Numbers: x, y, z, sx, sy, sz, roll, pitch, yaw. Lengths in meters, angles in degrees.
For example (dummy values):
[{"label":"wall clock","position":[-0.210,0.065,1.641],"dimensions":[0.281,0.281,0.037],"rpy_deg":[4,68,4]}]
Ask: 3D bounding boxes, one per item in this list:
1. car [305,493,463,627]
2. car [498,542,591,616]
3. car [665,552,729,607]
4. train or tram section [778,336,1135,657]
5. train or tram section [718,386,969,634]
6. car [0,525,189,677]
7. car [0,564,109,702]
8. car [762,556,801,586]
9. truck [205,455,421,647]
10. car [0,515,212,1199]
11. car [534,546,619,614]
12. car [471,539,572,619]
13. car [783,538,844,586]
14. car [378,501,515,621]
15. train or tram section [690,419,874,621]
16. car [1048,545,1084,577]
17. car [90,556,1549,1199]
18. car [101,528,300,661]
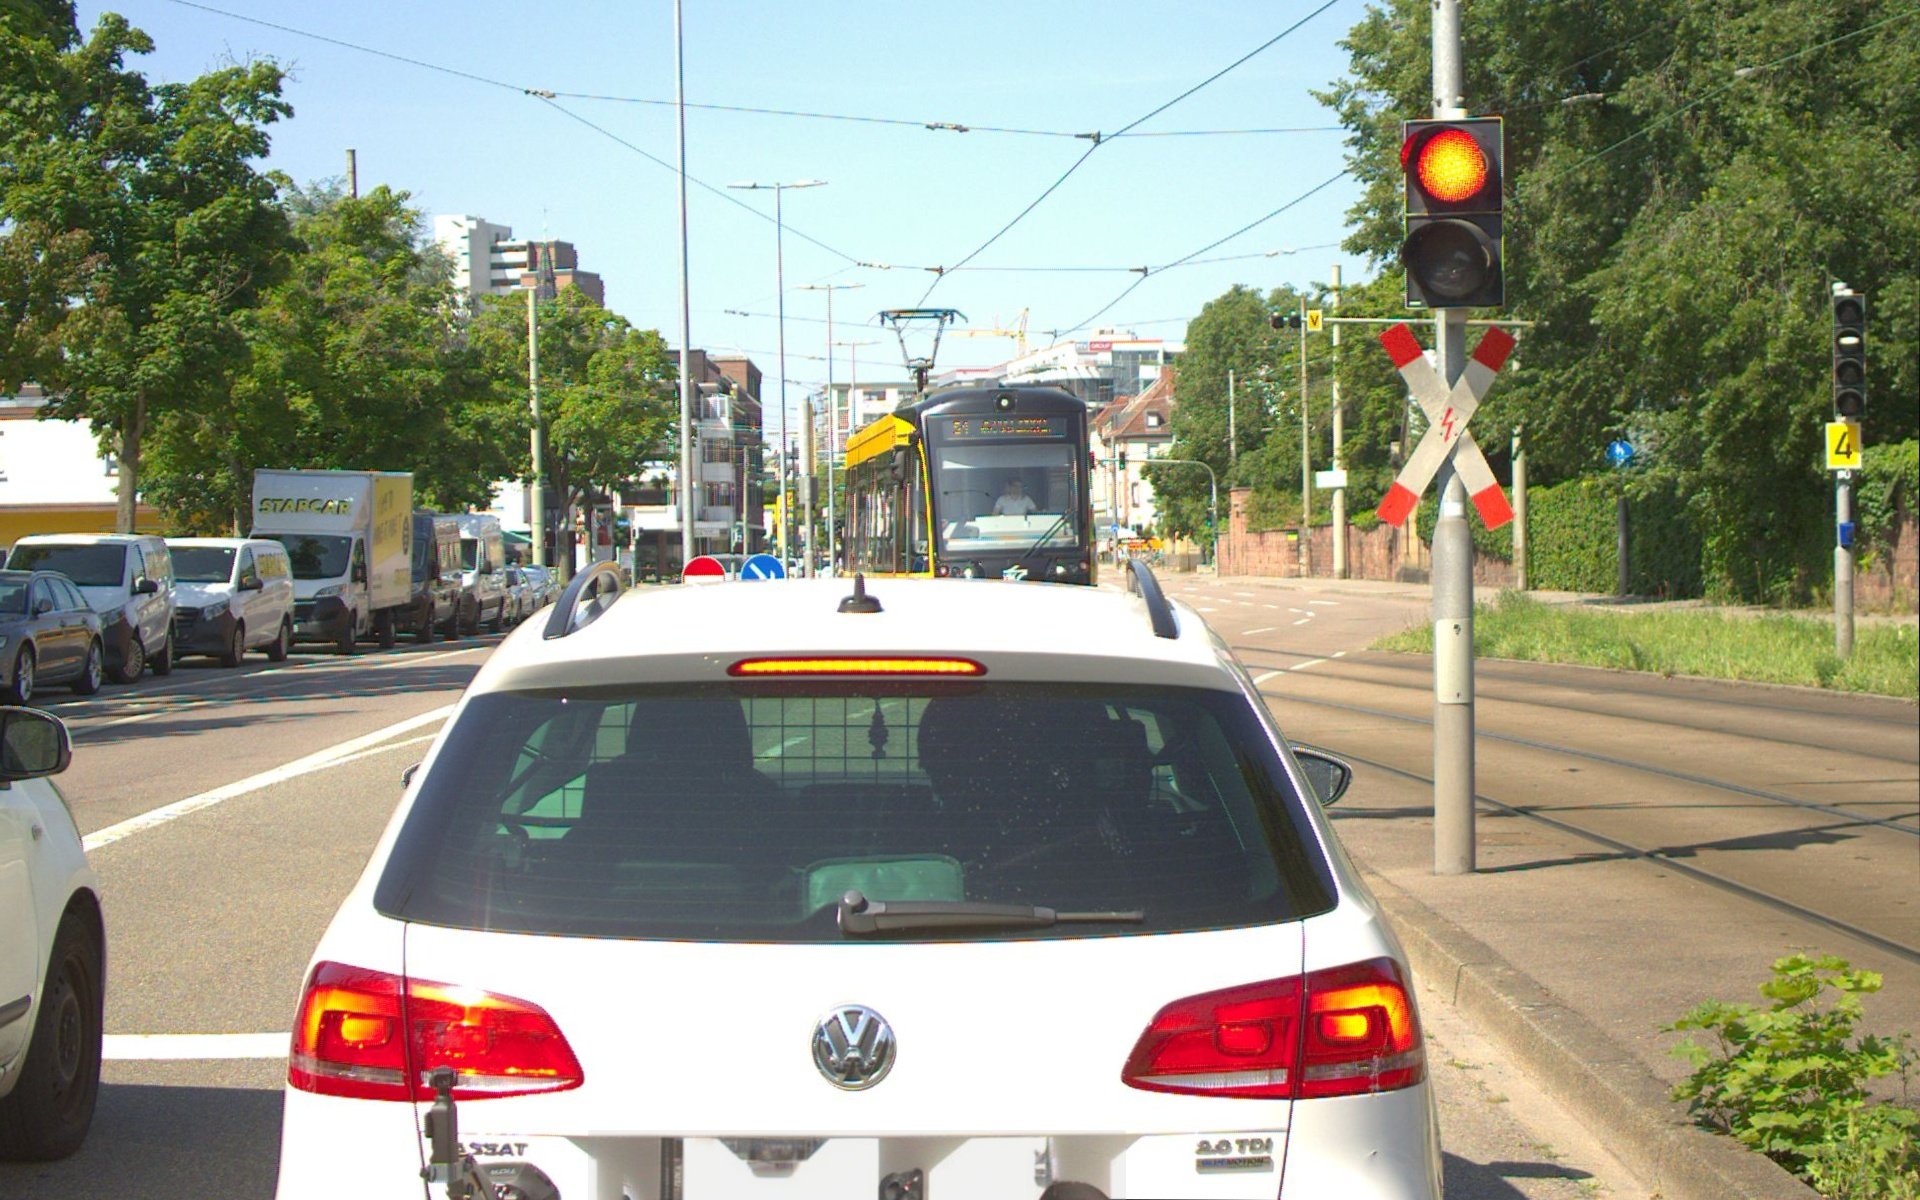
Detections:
[{"label":"car","position":[-11.376,-0.814,68.315],"dimensions":[2.123,2.508,5.733],"rpy_deg":[1,1,0]},{"label":"car","position":[-11.043,-0.592,91.681],"dimensions":[1.863,1.861,5.414],"rpy_deg":[1,1,-1]},{"label":"car","position":[-7.944,-0.646,104.082],"dimensions":[1.676,1.548,3.580],"rpy_deg":[-3,1,-1]},{"label":"train or tram section","position":[-0.352,-1.365,47.972],"dimensions":[2.870,3.842,12.395],"rpy_deg":[-1,1,-10]},{"label":"train or tram section","position":[-2.252,-1.522,60.290],"dimensions":[2.870,3.842,12.395],"rpy_deg":[-1,1,-9]},{"label":"car","position":[-11.412,-0.032,45.255],"dimensions":[1.863,1.861,5.075],"rpy_deg":[1,1,-6]},{"label":"car","position":[-11.023,0.323,38.699],"dimensions":[1.863,1.411,4.280],"rpy_deg":[1,1,-1]},{"label":"car","position":[-9.453,-1.538,182.270],"dimensions":[1.705,1.468,4.589],"rpy_deg":[-1,1,1]},{"label":"truck","position":[-11.248,-0.873,60.313],"dimensions":[2.421,3.139,6.997],"rpy_deg":[1,1,0]},{"label":"car","position":[-2.943,0.591,7.358],"dimensions":[1.662,1.542,4.547],"rpy_deg":[0,1,0]},{"label":"car","position":[-10.967,-0.606,98.598],"dimensions":[1.863,1.861,5.414],"rpy_deg":[1,1,-1]},{"label":"car","position":[-10.791,-0.545,84.866],"dimensions":[1.863,1.861,5.414],"rpy_deg":[1,1,-1]},{"label":"car","position":[-4.784,-1.267,112.796],"dimensions":[1.705,1.468,4.589],"rpy_deg":[-2,1,1]},{"label":"car","position":[-11.263,-0.884,75.751],"dimensions":[2.123,2.508,5.733],"rpy_deg":[1,1,0]},{"label":"train or tram section","position":[-3.846,-1.638,71.661],"dimensions":[2.870,3.842,10.541],"rpy_deg":[-1,1,-8]},{"label":"car","position":[6.455,-2.397,209.579],"dimensions":[1.863,1.861,5.062],"rpy_deg":[1,1,-1]},{"label":"car","position":[-0.183,0.667,6.203],"dimensions":[1.762,1.425,4.000],"rpy_deg":[-1,1,-1]},{"label":"car","position":[-11.385,-0.129,51.899],"dimensions":[1.863,1.861,5.414],"rpy_deg":[1,1,-1]}]
